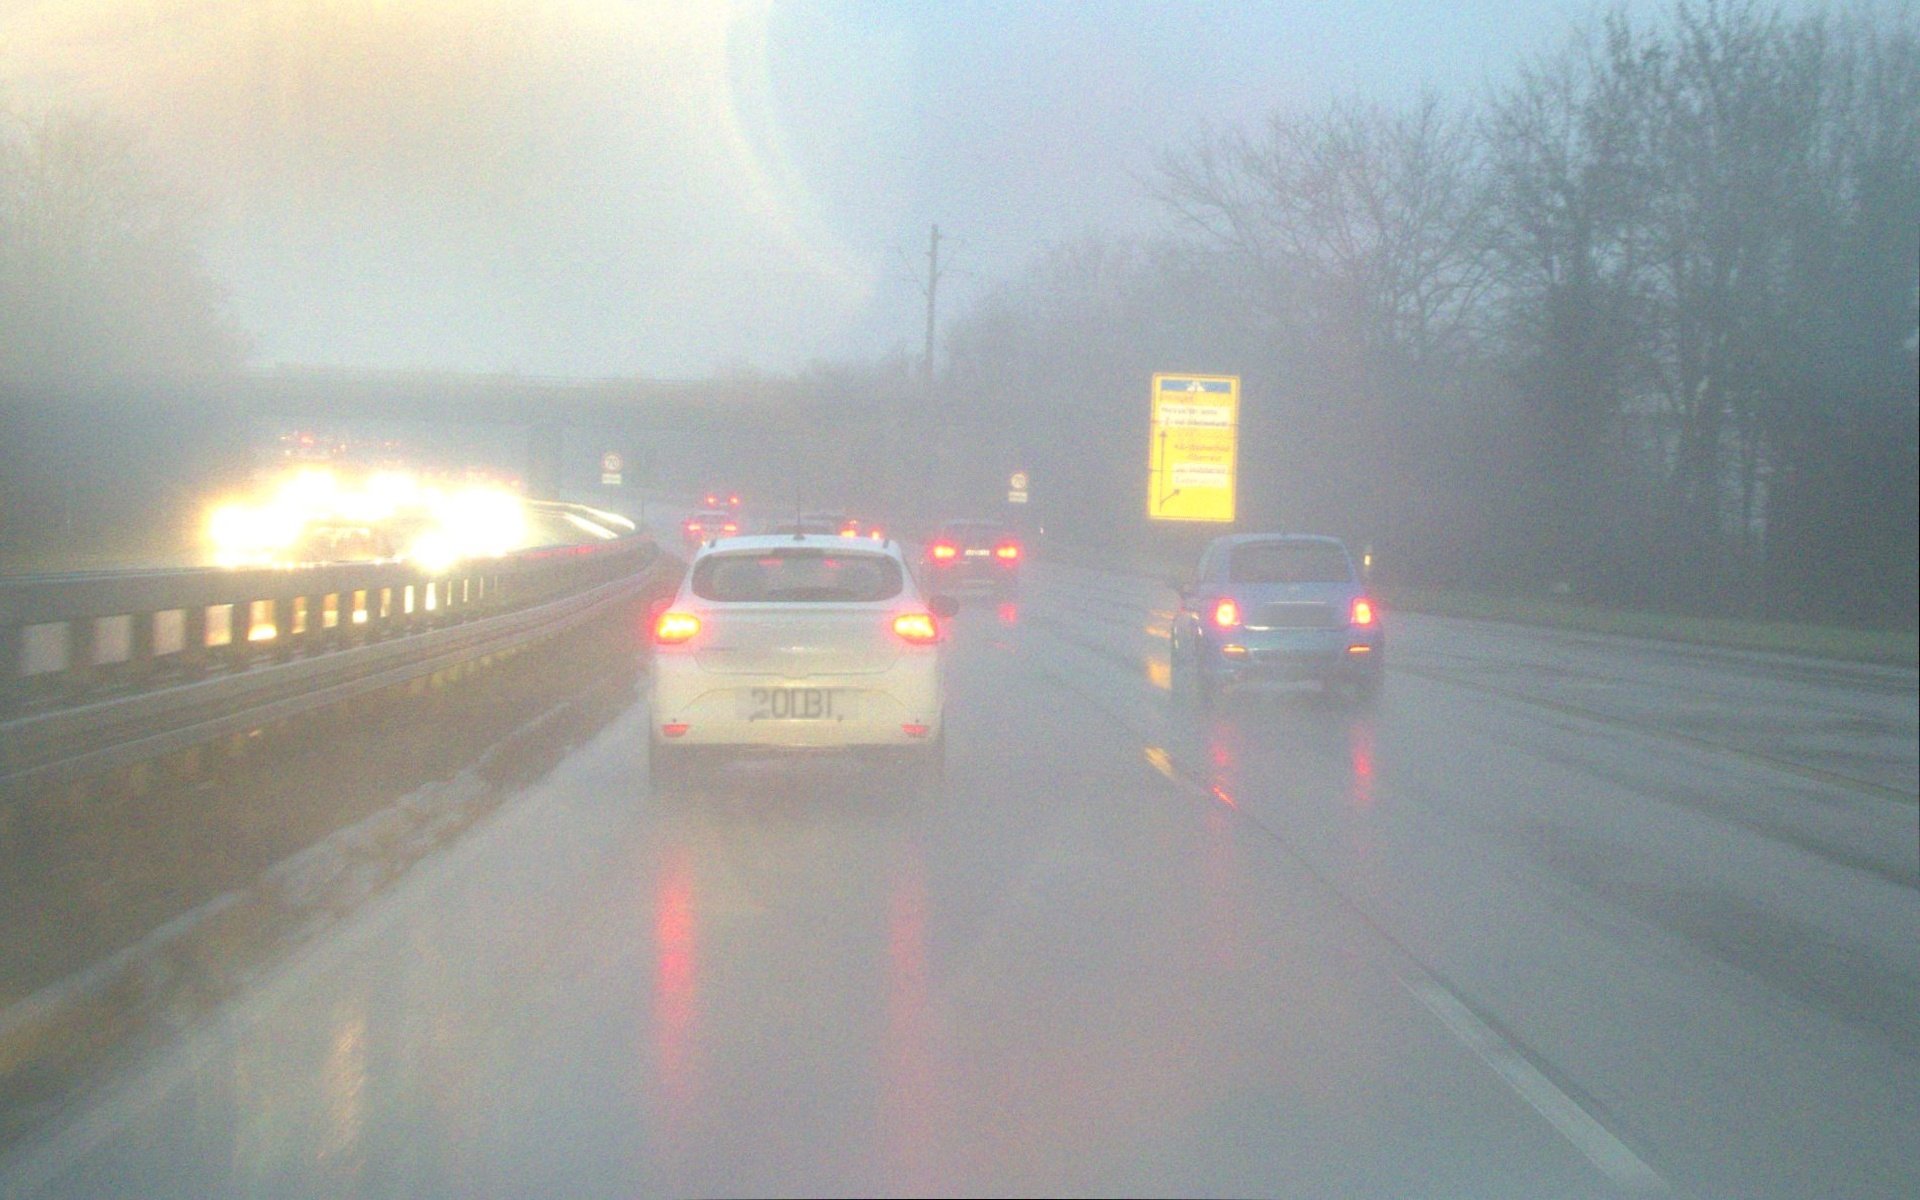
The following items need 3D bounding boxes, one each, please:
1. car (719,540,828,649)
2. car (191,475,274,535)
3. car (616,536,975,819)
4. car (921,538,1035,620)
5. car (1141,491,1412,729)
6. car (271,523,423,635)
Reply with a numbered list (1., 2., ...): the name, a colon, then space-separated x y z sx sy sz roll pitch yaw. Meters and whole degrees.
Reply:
1. car: -3.627 -0.139 66.969 1.993 2.007 4.001 2 1 -3
2. car: -23.266 -3.014 110.091 1.880 1.826 4.788 2 1 -4
3. car: -0.964 0.413 21.797 2.025 1.569 4.000 2 1 0
4. car: 0.346 -0.426 72.265 1.932 1.541 3.774 -4 0 -5
5. car: 2.851 0.054 31.758 1.932 2.012 3.774 2 1 -3
6. car: -8.882 -0.325 50.013 1.653 1.514 3.505 2 1 -2
